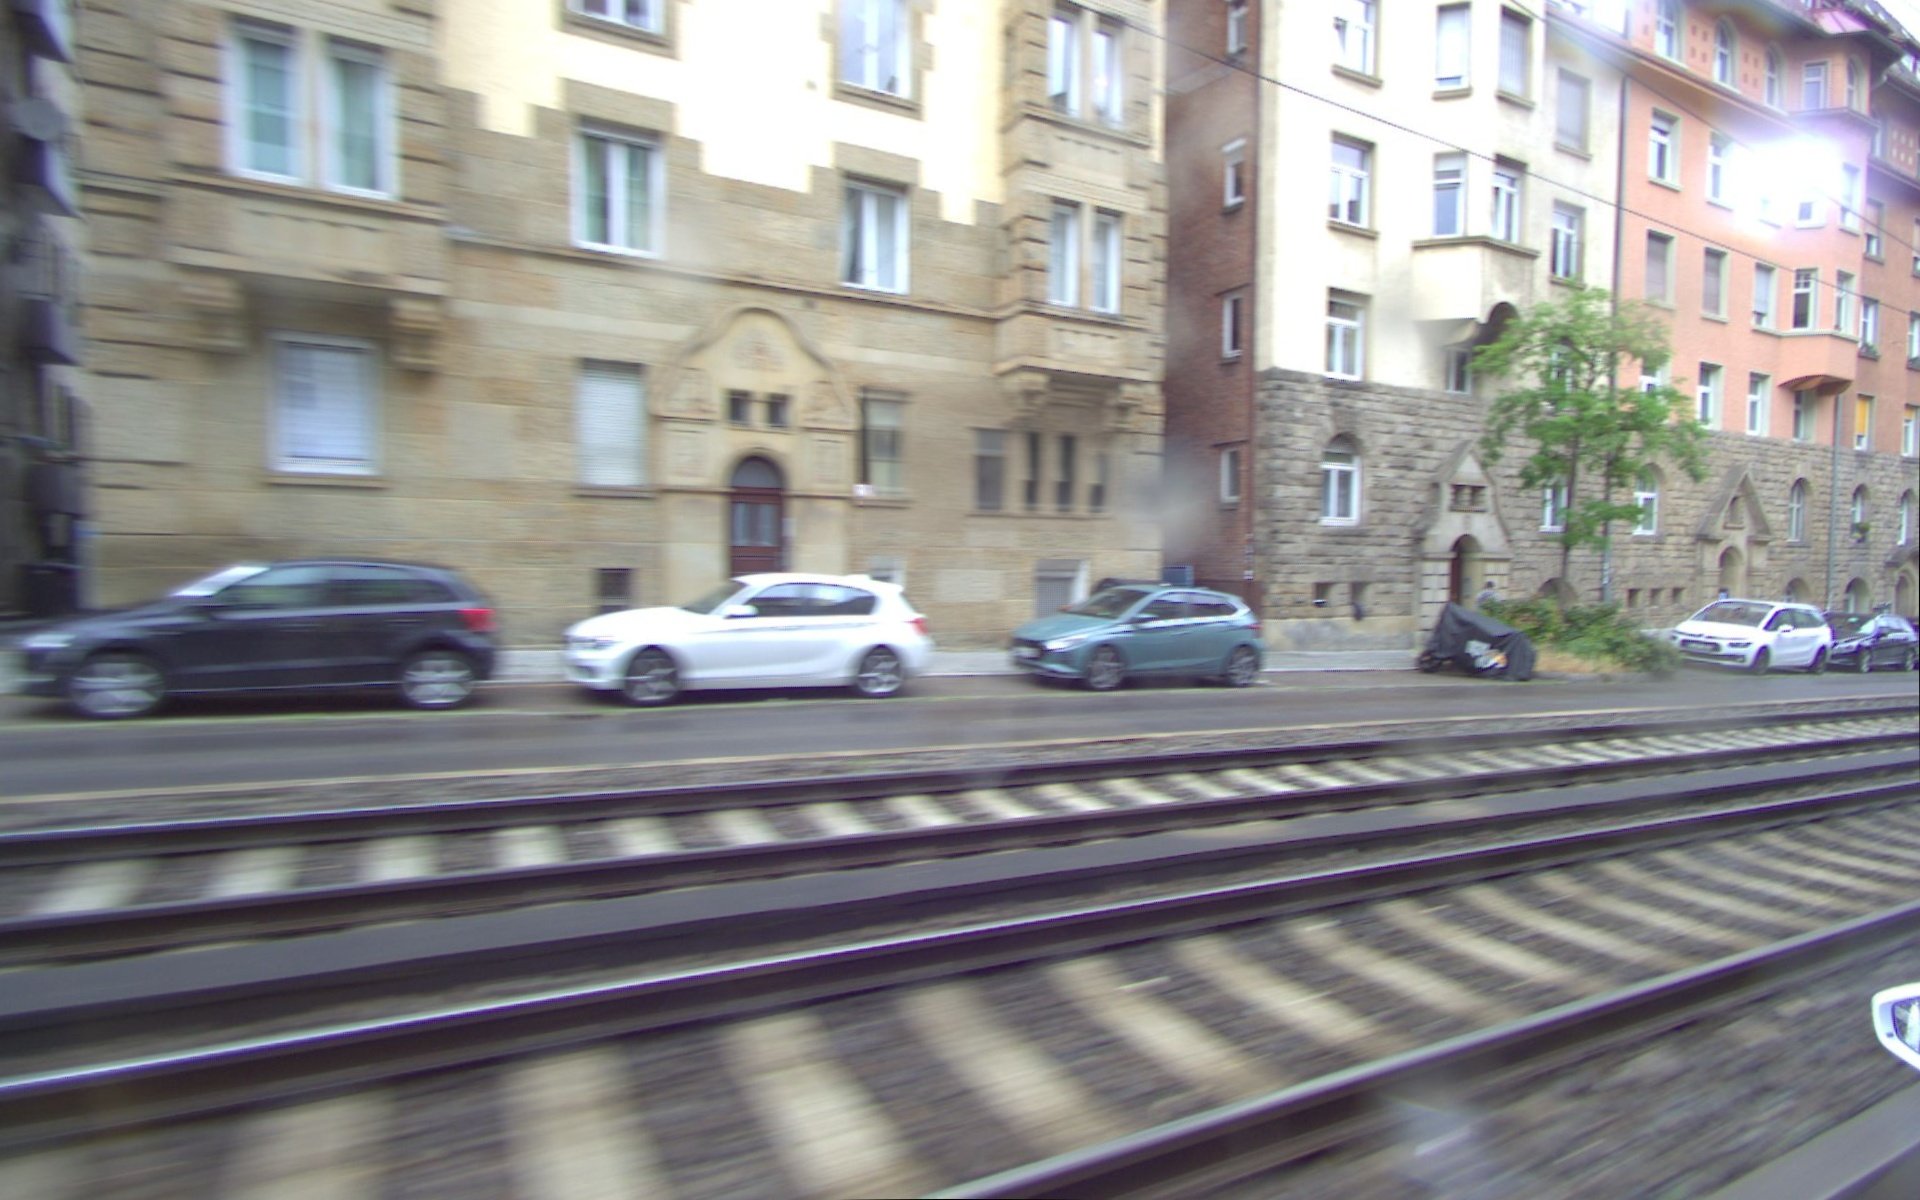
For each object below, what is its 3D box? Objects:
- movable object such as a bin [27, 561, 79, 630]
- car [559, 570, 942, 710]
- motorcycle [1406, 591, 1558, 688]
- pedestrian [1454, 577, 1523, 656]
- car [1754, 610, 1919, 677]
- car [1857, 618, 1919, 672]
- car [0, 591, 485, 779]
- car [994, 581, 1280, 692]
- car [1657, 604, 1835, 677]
[{"bbox_3d":[-17.623,-0.090,19.536,0.622,1.313,0.725,1,2,-31],"label":"movable object such as a bin"},{"bbox_3d":[-2.469,0.422,12.047,4.208,1.445,1.660,1,1,-28],"label":"car"},{"bbox_3d":[9.811,0.697,18.937,2.236,1.664,1.285,2,2,45],"label":"motorcycle"},{"bbox_3d":[12.341,0.402,23.489,0.913,1.776,1.003,-1,-3,-28],"label":"pedestrian"},{"bbox_3d":[23.703,1.108,26.885,4.912,1.530,1.985,1,3,-28],"label":"car"},{"bbox_3d":[27.927,1.267,29.254,3.840,1.417,1.633,0,2,-32],"label":"car"},{"bbox_3d":[-6.861,0.735,9.778,3.950,1.506,1.757,2,1,-28],"label":"car"},{"bbox_3d":[2.684,0.528,14.994,4.094,1.457,1.555,2,1,-28],"label":"car"},{"bbox_3d":[18.811,0.959,24.023,4.296,1.610,1.778,2,-2,-28],"label":"car"}]
